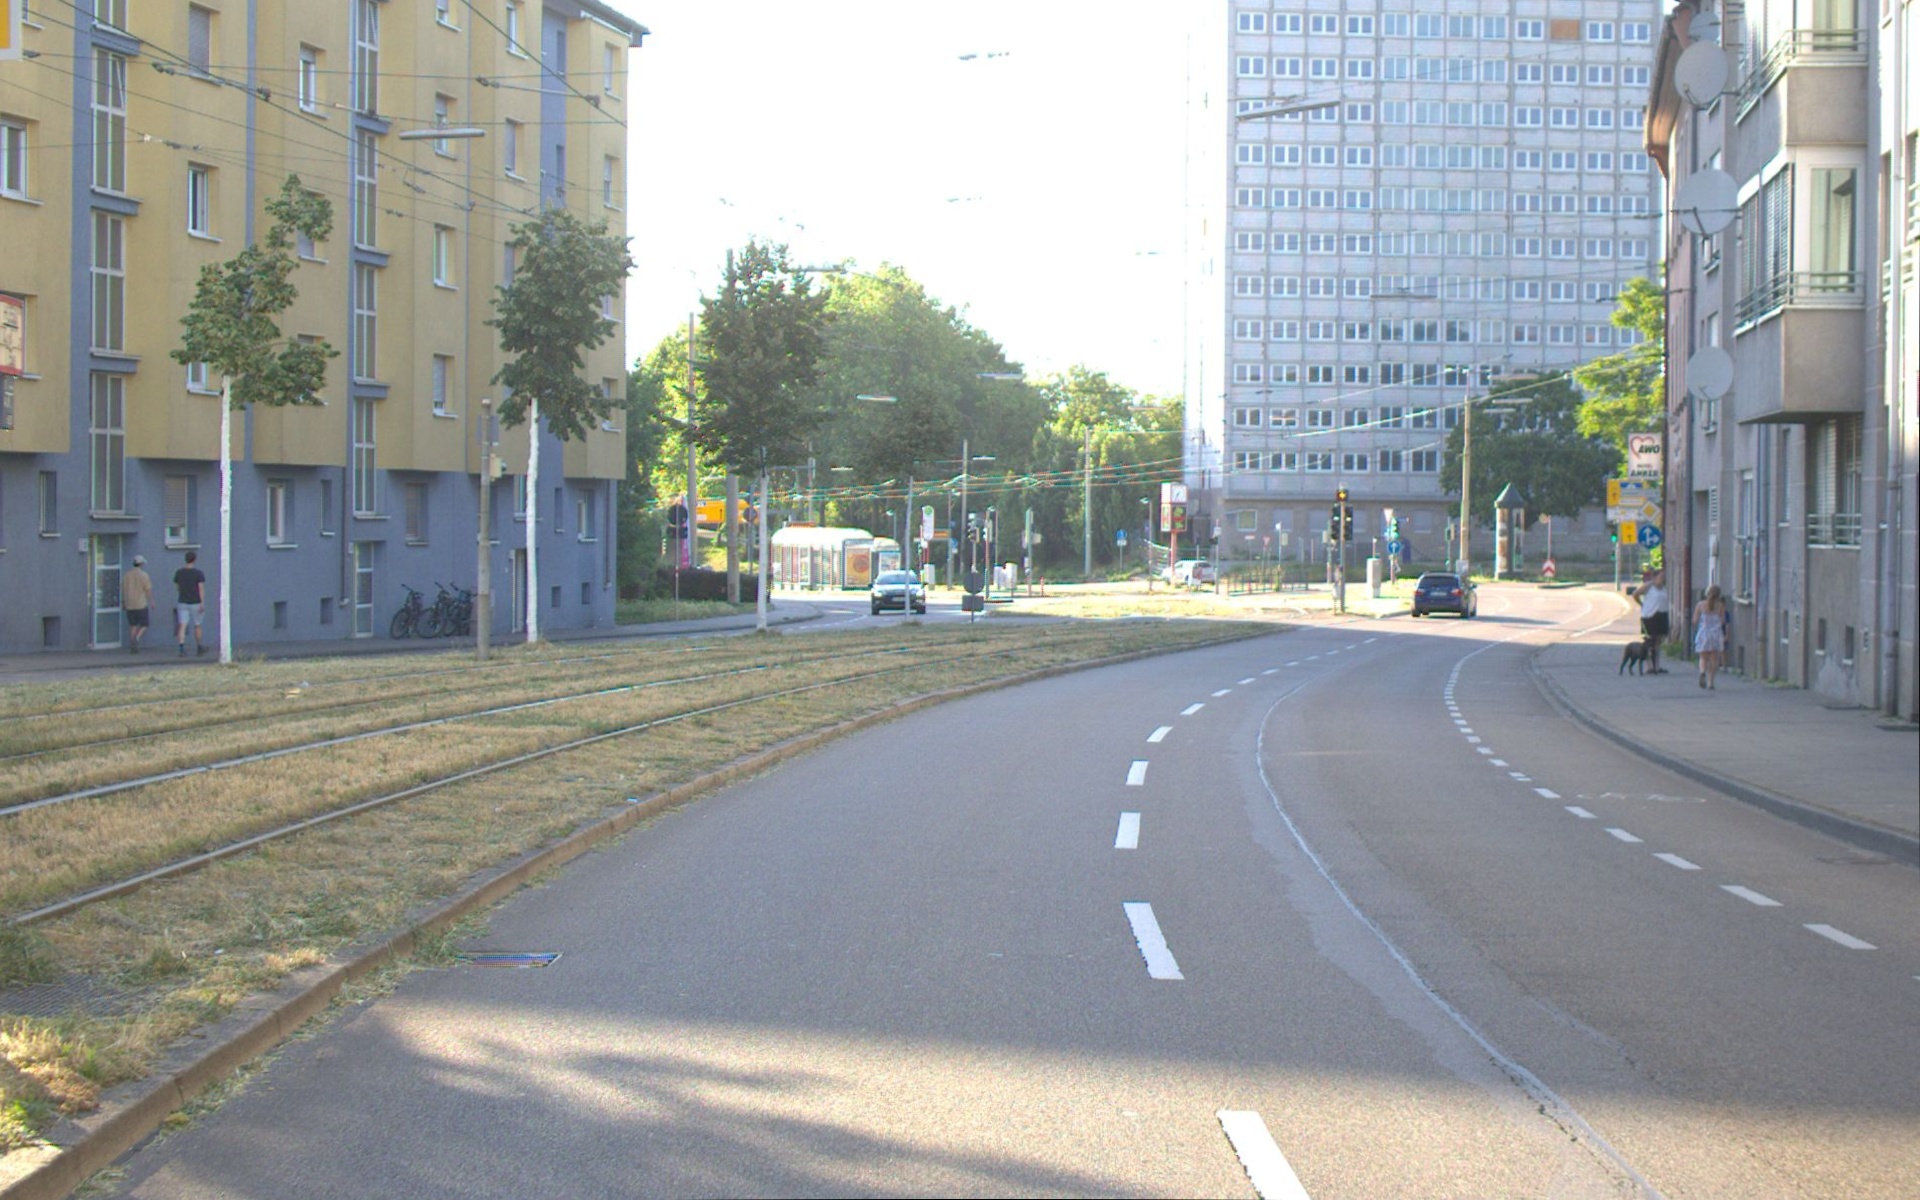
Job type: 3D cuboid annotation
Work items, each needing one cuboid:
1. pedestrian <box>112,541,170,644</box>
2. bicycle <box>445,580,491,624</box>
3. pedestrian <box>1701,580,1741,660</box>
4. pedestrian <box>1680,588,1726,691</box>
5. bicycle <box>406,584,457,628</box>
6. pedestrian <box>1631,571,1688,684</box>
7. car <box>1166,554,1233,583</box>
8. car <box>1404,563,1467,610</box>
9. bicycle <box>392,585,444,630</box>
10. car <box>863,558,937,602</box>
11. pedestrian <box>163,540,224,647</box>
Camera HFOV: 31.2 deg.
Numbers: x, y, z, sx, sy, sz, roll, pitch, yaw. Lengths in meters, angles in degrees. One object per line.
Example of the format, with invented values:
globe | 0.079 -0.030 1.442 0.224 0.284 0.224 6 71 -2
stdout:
pedestrian | -13.970 -0.134 58.660 0.616 1.688 0.706 5 2 9
bicycle | -11.016 0.039 76.949 0.427 0.956 1.911 1 1 10
pedestrian | 12.032 0.313 54.358 0.587 1.247 0.584 0 1 9
pedestrian | 9.718 0.515 44.955 0.514 1.340 0.609 0 0 5
bicycle | -11.451 0.123 74.478 0.427 0.922 1.911 4 1 10
pedestrian | 11.101 0.432 54.551 0.830 1.765 0.995 0 1 9
car | 13.185 -1.725 189.517 1.993 1.525 4.001 0 1 -24
car | 15.066 -0.446 108.918 1.773 1.417 3.854 0 1 11
bicycle | -11.525 0.155 73.200 0.427 0.922 1.911 4 1 10
car | -2.039 -0.669 118.321 1.794 1.464 4.794 -1 0 8
pedestrian | -13.145 -0.121 58.972 0.593 1.767 0.885 5 2 9
